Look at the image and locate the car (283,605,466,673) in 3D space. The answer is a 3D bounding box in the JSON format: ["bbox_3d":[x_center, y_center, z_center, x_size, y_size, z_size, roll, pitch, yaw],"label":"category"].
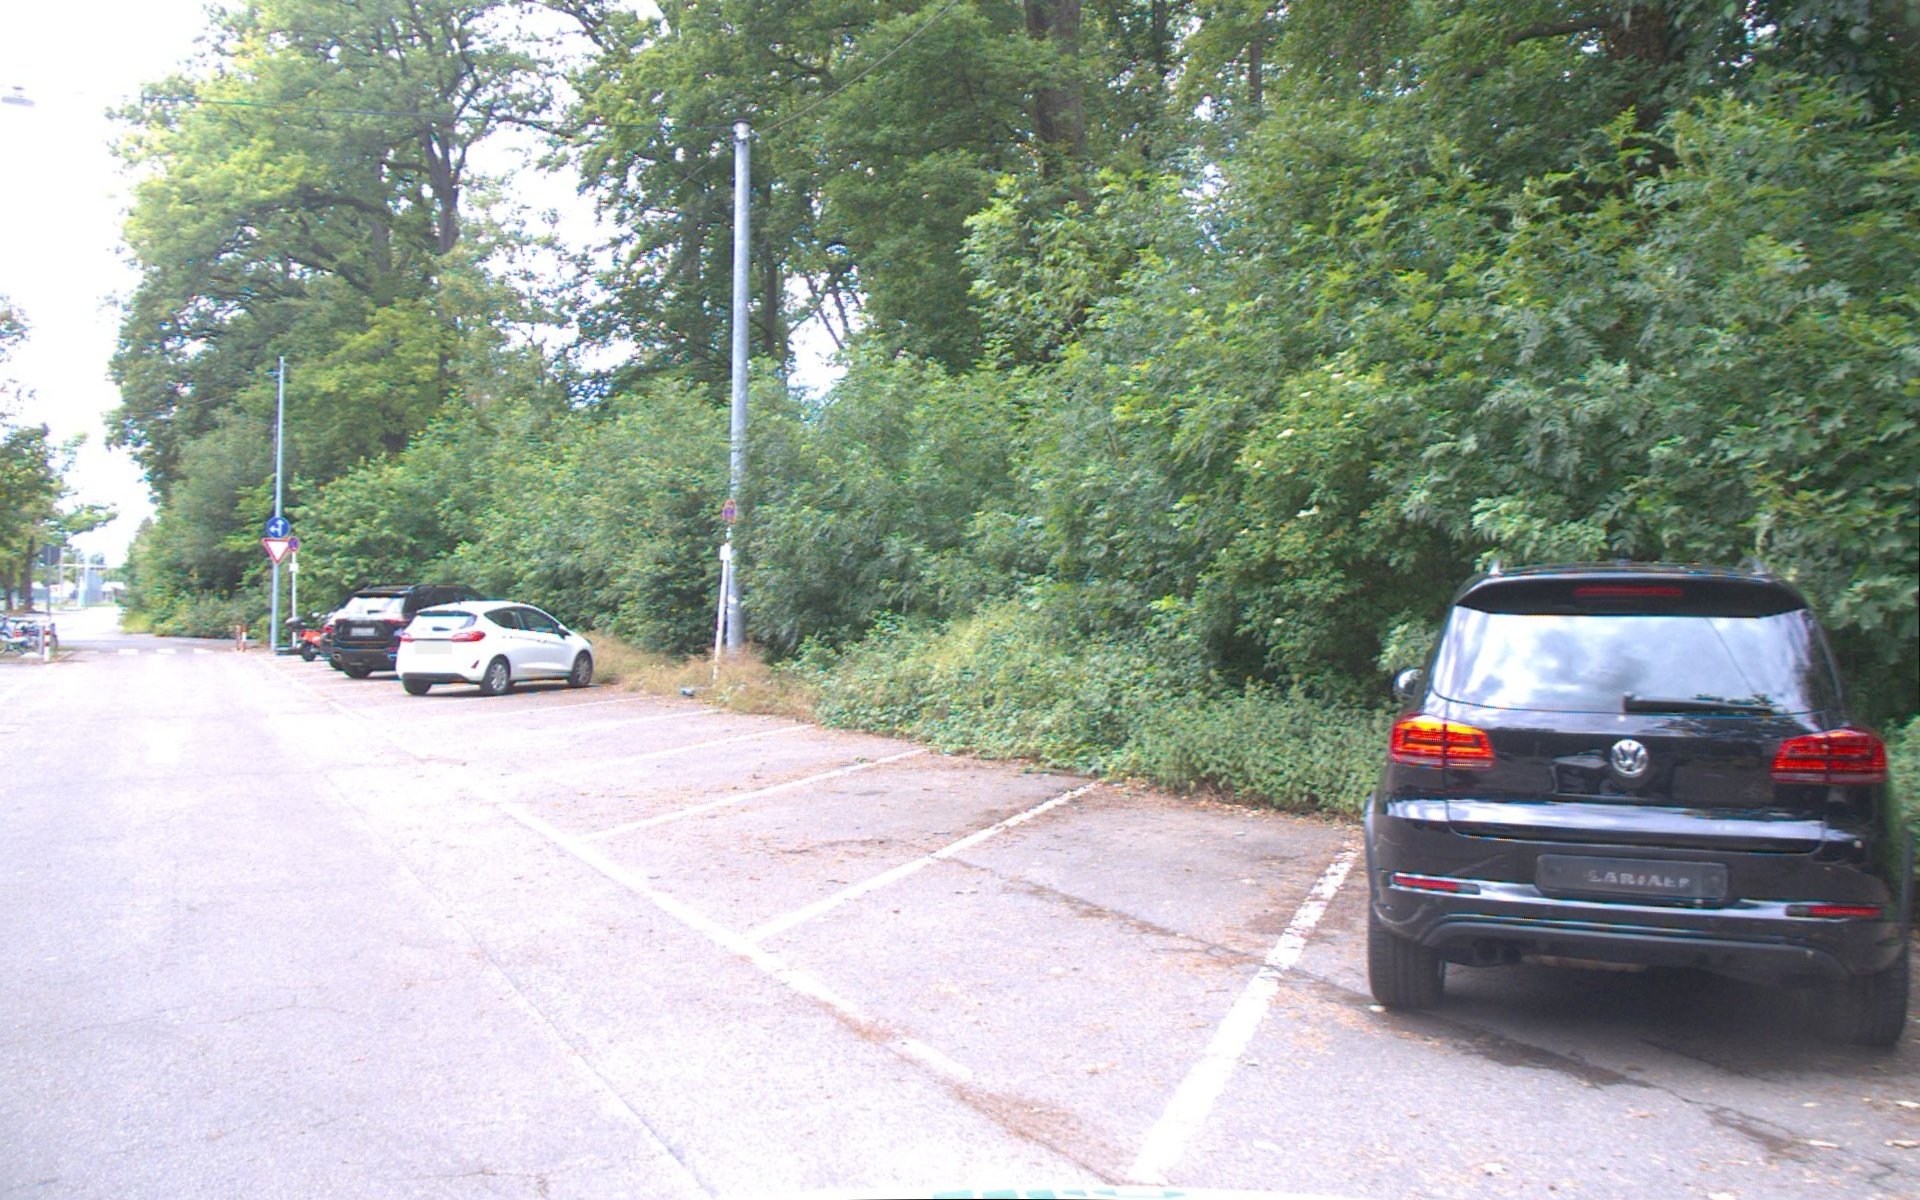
[{"bbox_3d":[-12.848,0.822,36.545,1.698,1.400,4.001,0,0,19],"label":"car"}]

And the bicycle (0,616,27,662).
[{"bbox_3d":[-24.140,0.977,41.057,1.655,1.131,0.503,0,0,-21],"label":"bicycle"}]

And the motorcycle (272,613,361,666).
[{"bbox_3d":[-15.603,0.942,40.153,0.714,1.229,2.026,0,0,28],"label":"motorcycle"}]

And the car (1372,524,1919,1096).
[{"bbox_3d":[2.865,0.637,7.131,1.741,1.714,4.073,0,0,19],"label":"car"}]

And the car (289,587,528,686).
[{"bbox_3d":[-10.752,0.681,32.670,2.061,1.798,4.710,0,-1,19],"label":"car"}]

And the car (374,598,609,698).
[{"bbox_3d":[-7.715,0.764,27.633,1.825,1.537,4.001,0,-1,19],"label":"car"}]

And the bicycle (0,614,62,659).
[{"bbox_3d":[-23.943,0.926,42.262,1.666,1.131,0.480,0,0,-19],"label":"bicycle"}]
